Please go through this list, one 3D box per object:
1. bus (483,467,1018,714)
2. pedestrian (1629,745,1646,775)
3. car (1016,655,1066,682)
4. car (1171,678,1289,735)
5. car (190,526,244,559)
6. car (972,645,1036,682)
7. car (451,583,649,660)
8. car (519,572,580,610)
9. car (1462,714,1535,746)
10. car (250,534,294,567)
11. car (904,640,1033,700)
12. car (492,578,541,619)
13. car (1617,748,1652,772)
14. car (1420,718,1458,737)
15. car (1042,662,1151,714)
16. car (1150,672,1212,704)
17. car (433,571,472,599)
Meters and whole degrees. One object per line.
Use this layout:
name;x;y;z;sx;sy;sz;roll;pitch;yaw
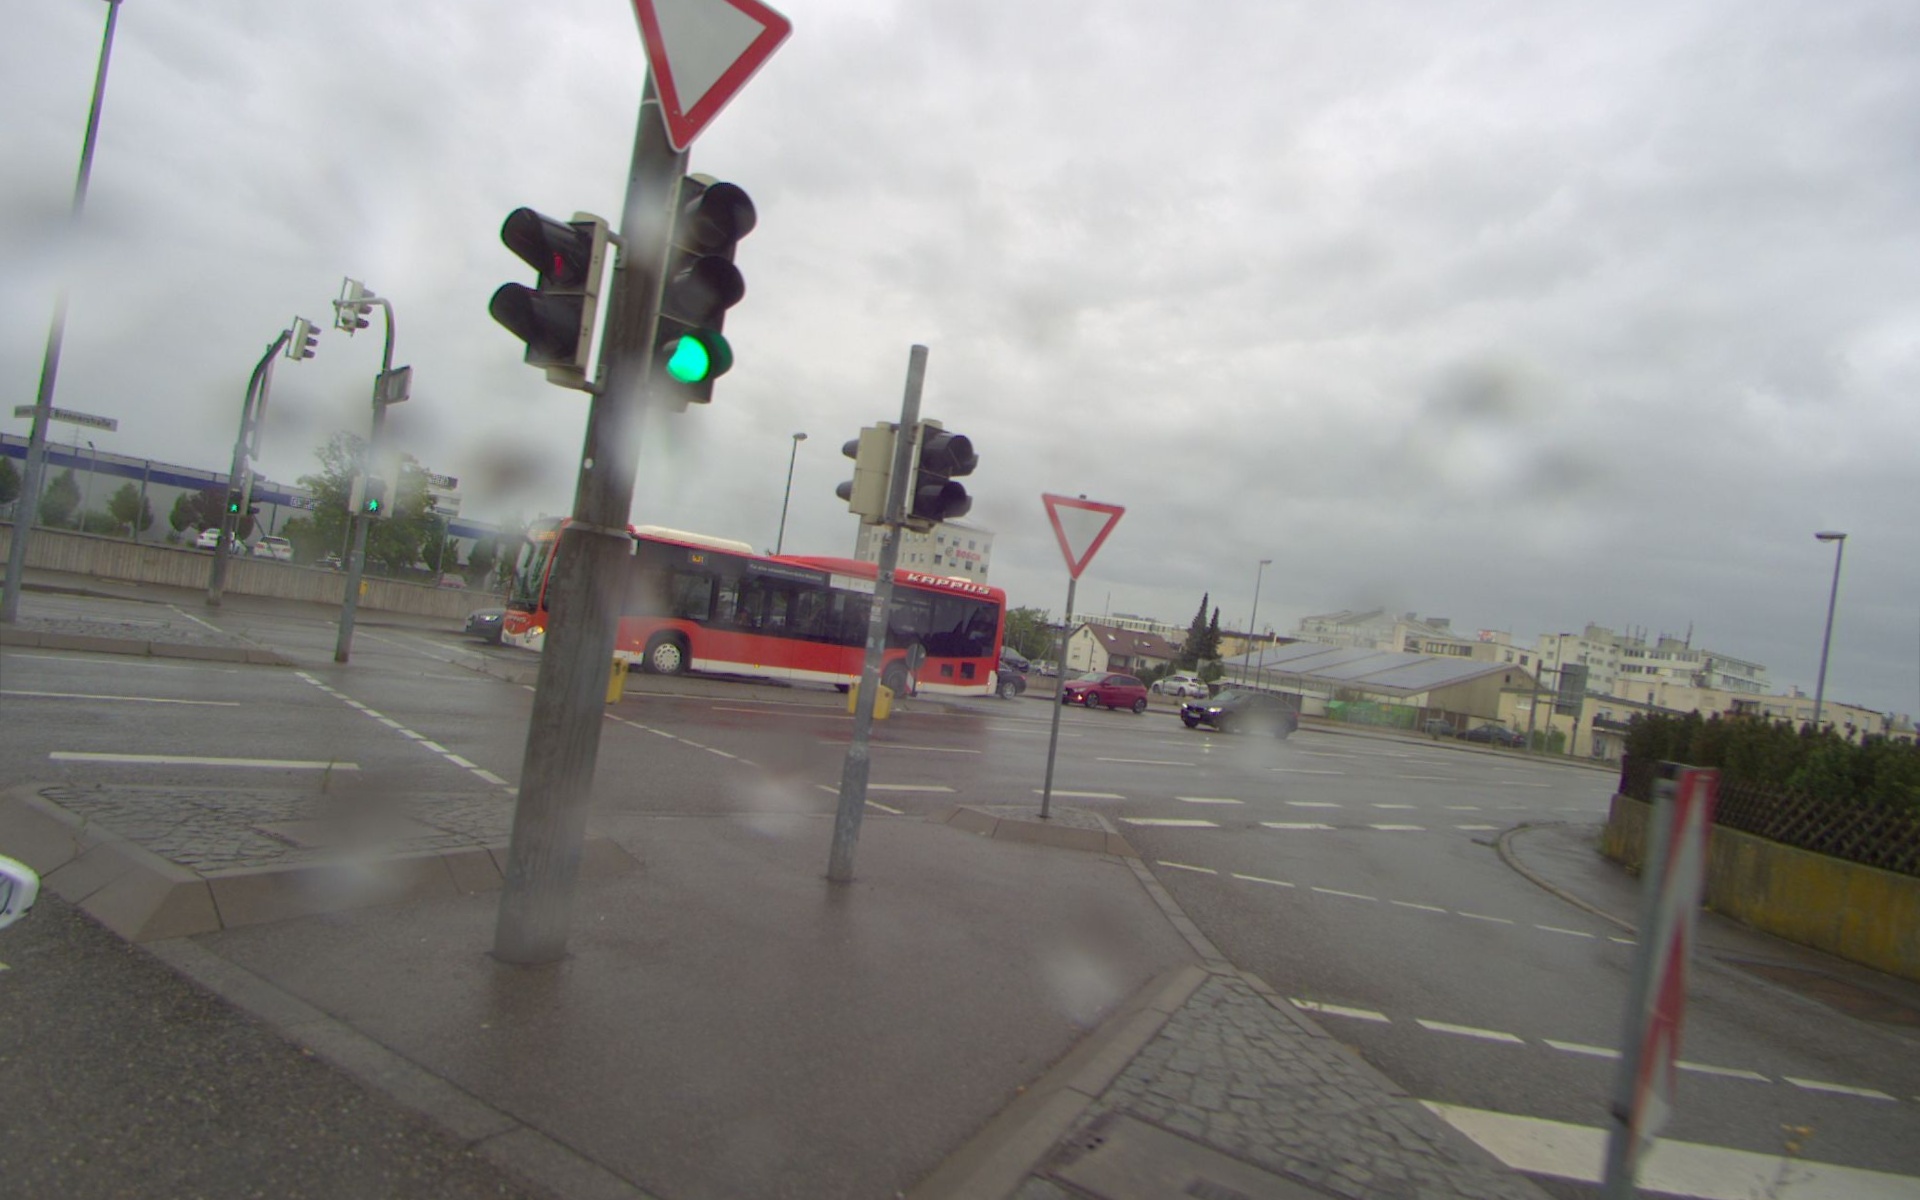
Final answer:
bus;-4.212;0.196;23.871;12.216;3.614;2.954;12;-4;-40
pedestrian;40.801;9.645;60.606;0.688;1.684;0.675;7;-1;37
car;6.486;5.513;81.029;1.979;1.636;3.972;9;-2;-29
car;9.251;3.657;34.348;3.972;1.515;1.833;9;-3;-40
car;-40.785;-3.143;55.315;1.804;1.450;4.073;8;-2;-30
car;2.588;3.726;59.531;1.911;1.684;3.871;9;-2;-28
car;-10.660;0.587;26.343;4.365;1.370;1.805;10;-3;-41
car;-20.710;-0.491;50.717;1.698;1.577;4.147;8;-2;-37
car;37.347;9.006;69.830;1.975;1.469;3.978;9;-2;-24
car;-38.955;-2.791;57.038;1.846;1.543;4.069;8;-2;-33
car;0.341;2.510;35.746;4.365;1.555;1.805;10;-3;-41
car;-26.368;-0.112;59.734;1.733;2.037;3.788;8;-2;-35
car;58.944;13.951;87.873;1.972;1.747;3.985;6;-3;41
car;47.143;12.551;99.005;3.614;1.436;1.721;9;-2;-35
car;5.422;3.483;39.678;3.946;1.525;1.854;9;-2;-35
car;14.828;5.905;67.587;1.975;1.561;3.979;9;-2;-23
car;-36.064;-1.105;71.494;1.911;1.607;3.757;9;-2;-33
